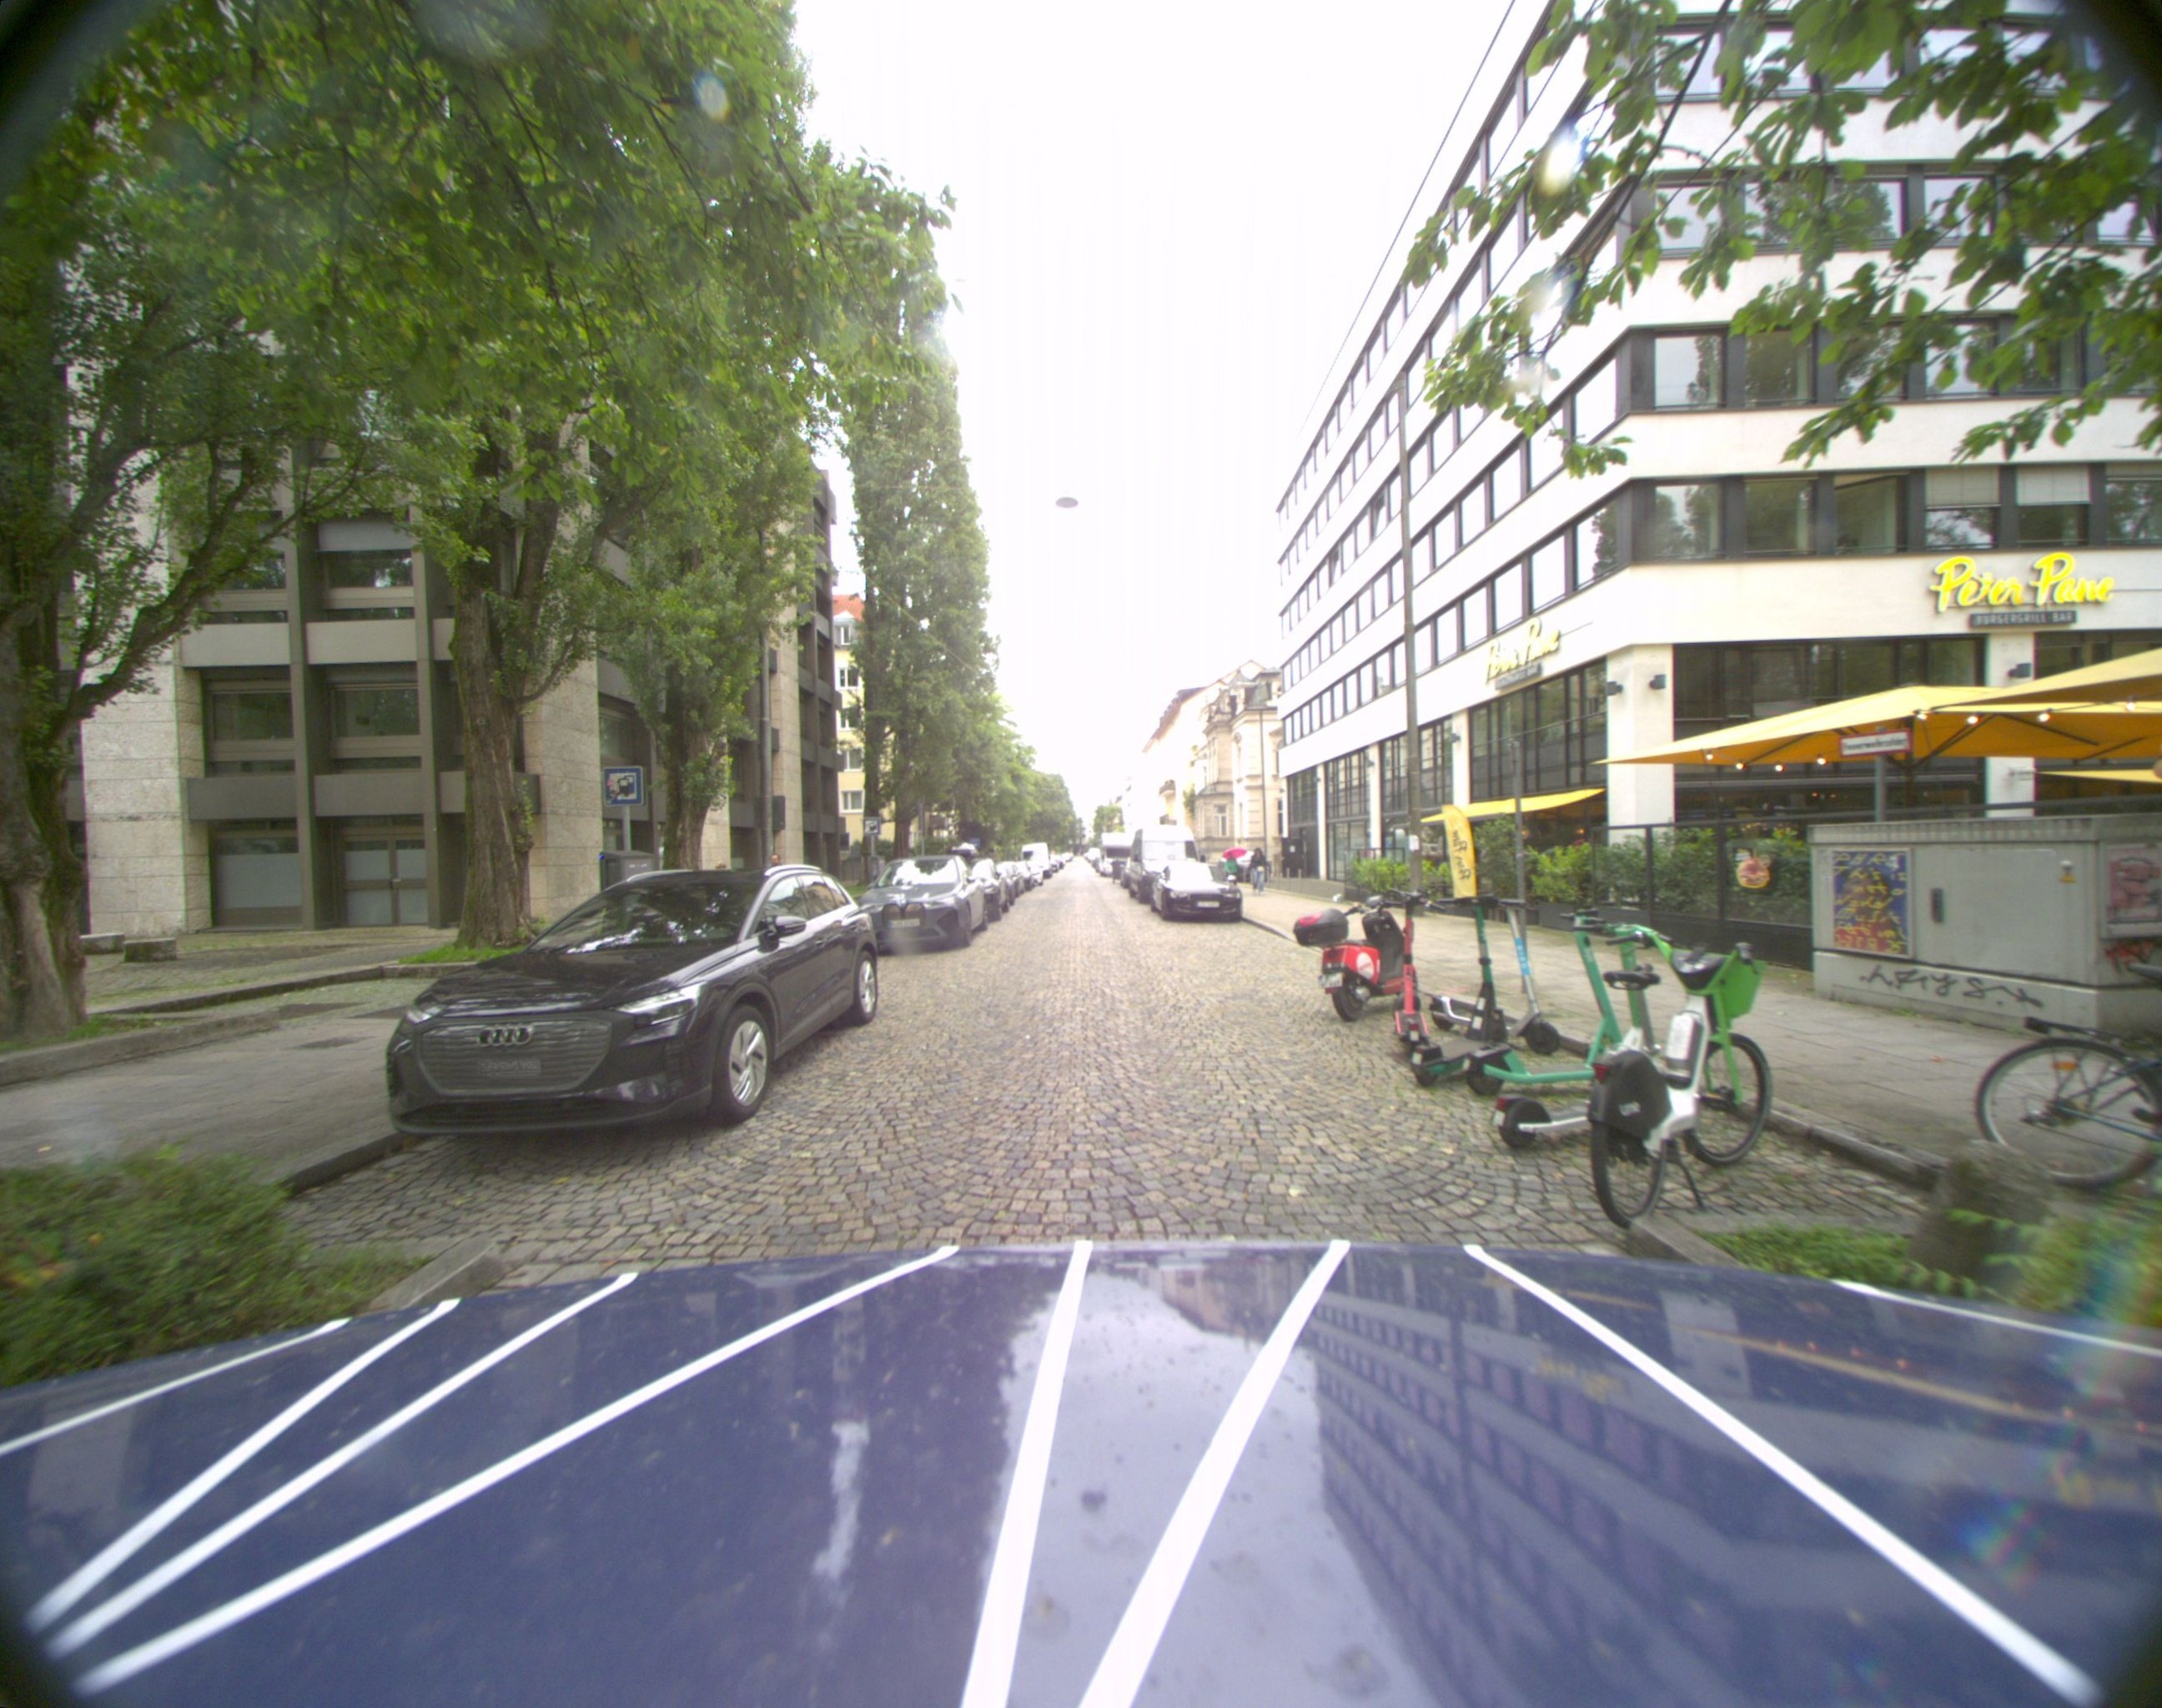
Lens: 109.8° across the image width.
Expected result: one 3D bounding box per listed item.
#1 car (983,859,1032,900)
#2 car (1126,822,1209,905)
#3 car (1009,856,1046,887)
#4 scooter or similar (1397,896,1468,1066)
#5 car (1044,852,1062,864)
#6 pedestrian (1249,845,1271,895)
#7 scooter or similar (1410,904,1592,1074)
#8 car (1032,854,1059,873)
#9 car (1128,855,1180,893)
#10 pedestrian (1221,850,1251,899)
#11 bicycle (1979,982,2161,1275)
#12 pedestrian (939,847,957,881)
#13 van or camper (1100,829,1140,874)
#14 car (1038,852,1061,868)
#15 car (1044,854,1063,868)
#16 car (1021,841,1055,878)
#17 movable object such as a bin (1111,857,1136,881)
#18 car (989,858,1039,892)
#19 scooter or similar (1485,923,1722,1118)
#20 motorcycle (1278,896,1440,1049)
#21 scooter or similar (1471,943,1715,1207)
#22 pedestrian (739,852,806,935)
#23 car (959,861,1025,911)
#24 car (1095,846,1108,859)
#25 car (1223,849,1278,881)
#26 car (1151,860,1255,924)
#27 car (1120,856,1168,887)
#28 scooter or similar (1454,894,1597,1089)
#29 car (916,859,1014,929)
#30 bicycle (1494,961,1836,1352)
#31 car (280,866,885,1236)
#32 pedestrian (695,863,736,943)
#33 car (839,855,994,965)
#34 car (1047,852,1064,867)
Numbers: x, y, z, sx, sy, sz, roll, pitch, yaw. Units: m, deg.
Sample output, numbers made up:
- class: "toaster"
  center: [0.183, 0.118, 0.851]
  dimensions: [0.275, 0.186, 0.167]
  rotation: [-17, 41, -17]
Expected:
- class: "car"
  center: [-3.013, 1.015, 31.561]
  dimensions: [1.605, 1.422, 3.562]
  rotation: [-4, 0, 0]
- class: "car"
  center: [2.837, 0.271, 26.228]
  dimensions: [2.065, 2.476, 5.848]
  rotation: [-2, 0, -1]
- class: "car"
  center: [-2.897, 0.908, 41.882]
  dimensions: [1.868, 1.490, 3.872]
  rotation: [-3, 1, -2]
- class: "scooter or similar"
  center: [3.119, 1.047, 6.693]
  dimensions: [0.326, 1.265, 1.360]
  rotation: [-1, 1, 35]
- class: "car"
  center: [-3.261, 0.436, 88.857]
  dimensions: [1.999, 1.380, 3.872]
  rotation: [-2, 1, -2]
- class: "pedestrian"
  center: [6.294, 0.560, 26.767]
  dimensions: [0.575, 1.738, 0.650]
  rotation: [-2, 1, 0]
- class: "scooter or similar"
  center: [3.380, 1.032, 6.206]
  dimensions: [0.391, 1.173, 1.248]
  rotation: [-2, 1, -31]
- class: "car"
  center: [-2.809, 0.724, 60.831]
  dimensions: [1.999, 1.380, 3.872]
  rotation: [-3, 1, -2]
- class: "car"
  center: [3.047, 0.808, 32.356]
  dimensions: [1.998, 1.422, 4.000]
  rotation: [-1, 0, 3]
- class: "pedestrian"
  center: [5.557, 0.736, 27.257]
  dimensions: [0.928, 1.696, 0.800]
  rotation: [-2, 1, 3]
- class: "bicycle"
  center: [4.438, 1.112, 2.630]
  dimensions: [0.553, 1.016, 1.762]
  rotation: [-2, 1, -1]
- class: "pedestrian"
  center: [-6.105, 0.441, 34.875]
  dimensions: [0.645, 1.528, 0.709]
  rotation: [-2, 1, -3]
- class: "van or camper"
  center: [2.798, -0.209, 56.393]
  dimensions: [2.464, 3.030, 7.316]
  rotation: [-2, 1, -1]
- class: "car"
  center: [-3.026, 0.586, 72.979]
  dimensions: [1.999, 1.380, 3.872]
  rotation: [-3, 1, -2]
- class: "car"
  center: [-2.943, 0.687, 81.623]
  dimensions: [1.999, 1.379, 3.872]
  rotation: [-2, 0, -2]
- class: "car"
  center: [-3.029, 0.362, 54.351]
  dimensions: [2.088, 2.418, 5.609]
  rotation: [-3, 1, -1]
- class: "movable object such as a bin"
  center: [2.375, 0.838, 42.325]
  dimensions: [1.255, 1.290, 1.174]
  rotation: [-1, 1, -4]
- class: "car"
  center: [-3.145, 0.963, 36.491]
  dimensions: [1.999, 1.380, 3.873]
  rotation: [-3, 1, 0]
- class: "scooter or similar"
  center: [3.299, 1.042, 4.834]
  dimensions: [1.250, 1.137, 0.327]
  rotation: [-2, 1, 1]
- class: "motorcycle"
  center: [2.786, 1.067, 7.476]
  dimensions: [0.769, 1.189, 1.995]
  rotation: [0, 1, 43]
- class: "scooter or similar"
  center: [2.799, 1.124, 4.125]
  dimensions: [1.432, 1.137, 0.369]
  rotation: [-2, 1, -23]
- class: "pedestrian"
  center: [-6.541, 0.820, 16.156]
  dimensions: [0.867, 1.704, 0.913]
  rotation: [-1, 1, 20]
- class: "car"
  center: [-3.061, 1.067, 26.892]
  dimensions: [1.723, 1.382, 4.205]
  rotation: [-5, 1, 0]
- class: "car"
  center: [3.706, -0.307, 141.433]
  dimensions: [2.088, 2.418, 5.609]
  rotation: [-2, 0, -1]
- class: "car"
  center: [8.688, 0.511, 39.209]
  dimensions: [1.912, 1.524, 4.169]
  rotation: [-2, 0, 1]
- class: "car"
  center: [2.930, 0.865, 19.083]
  dimensions: [1.998, 1.322, 4.116]
  rotation: [-2, 1, 1]
- class: "car"
  center: [3.014, 0.813, 37.171]
  dimensions: [1.999, 1.380, 3.999]
  rotation: [-1, 0, 0]
- class: "scooter or similar"
  center: [3.333, 0.970, 5.674]
  dimensions: [1.253, 1.265, 0.327]
  rotation: [-2, 1, -30]
- class: "car"
  center: [-2.997, 0.975, 20.626]
  dimensions: [1.999, 1.573, 4.341]
  rotation: [-2, 1, -1]
- class: "bicycle"
  center: [2.618, 1.158, 3.342]
  dimensions: [1.765, 1.136, 0.552]
  rotation: [-2, 1, -30]
- class: "car"
  center: [-3.045, 1.027, 5.937]
  dimensions: [1.925, 1.690, 4.200]
  rotation: [-2, 1, -1]
- class: "pedestrian"
  center: [-7.625, 1.007, 15.849]
  dimensions: [0.489, 1.619, 0.568]
  rotation: [-2, 1, 4]
- class: "car"
  center: [-2.975, 0.933, 14.877]
  dimensions: [2.018, 1.690, 4.672]
  rotation: [-2, 1, -1]
- class: "car"
  center: [-3.121, 0.694, 93.363]
  dimensions: [1.999, 1.680, 3.872]
  rotation: [-3, 1, -2]
